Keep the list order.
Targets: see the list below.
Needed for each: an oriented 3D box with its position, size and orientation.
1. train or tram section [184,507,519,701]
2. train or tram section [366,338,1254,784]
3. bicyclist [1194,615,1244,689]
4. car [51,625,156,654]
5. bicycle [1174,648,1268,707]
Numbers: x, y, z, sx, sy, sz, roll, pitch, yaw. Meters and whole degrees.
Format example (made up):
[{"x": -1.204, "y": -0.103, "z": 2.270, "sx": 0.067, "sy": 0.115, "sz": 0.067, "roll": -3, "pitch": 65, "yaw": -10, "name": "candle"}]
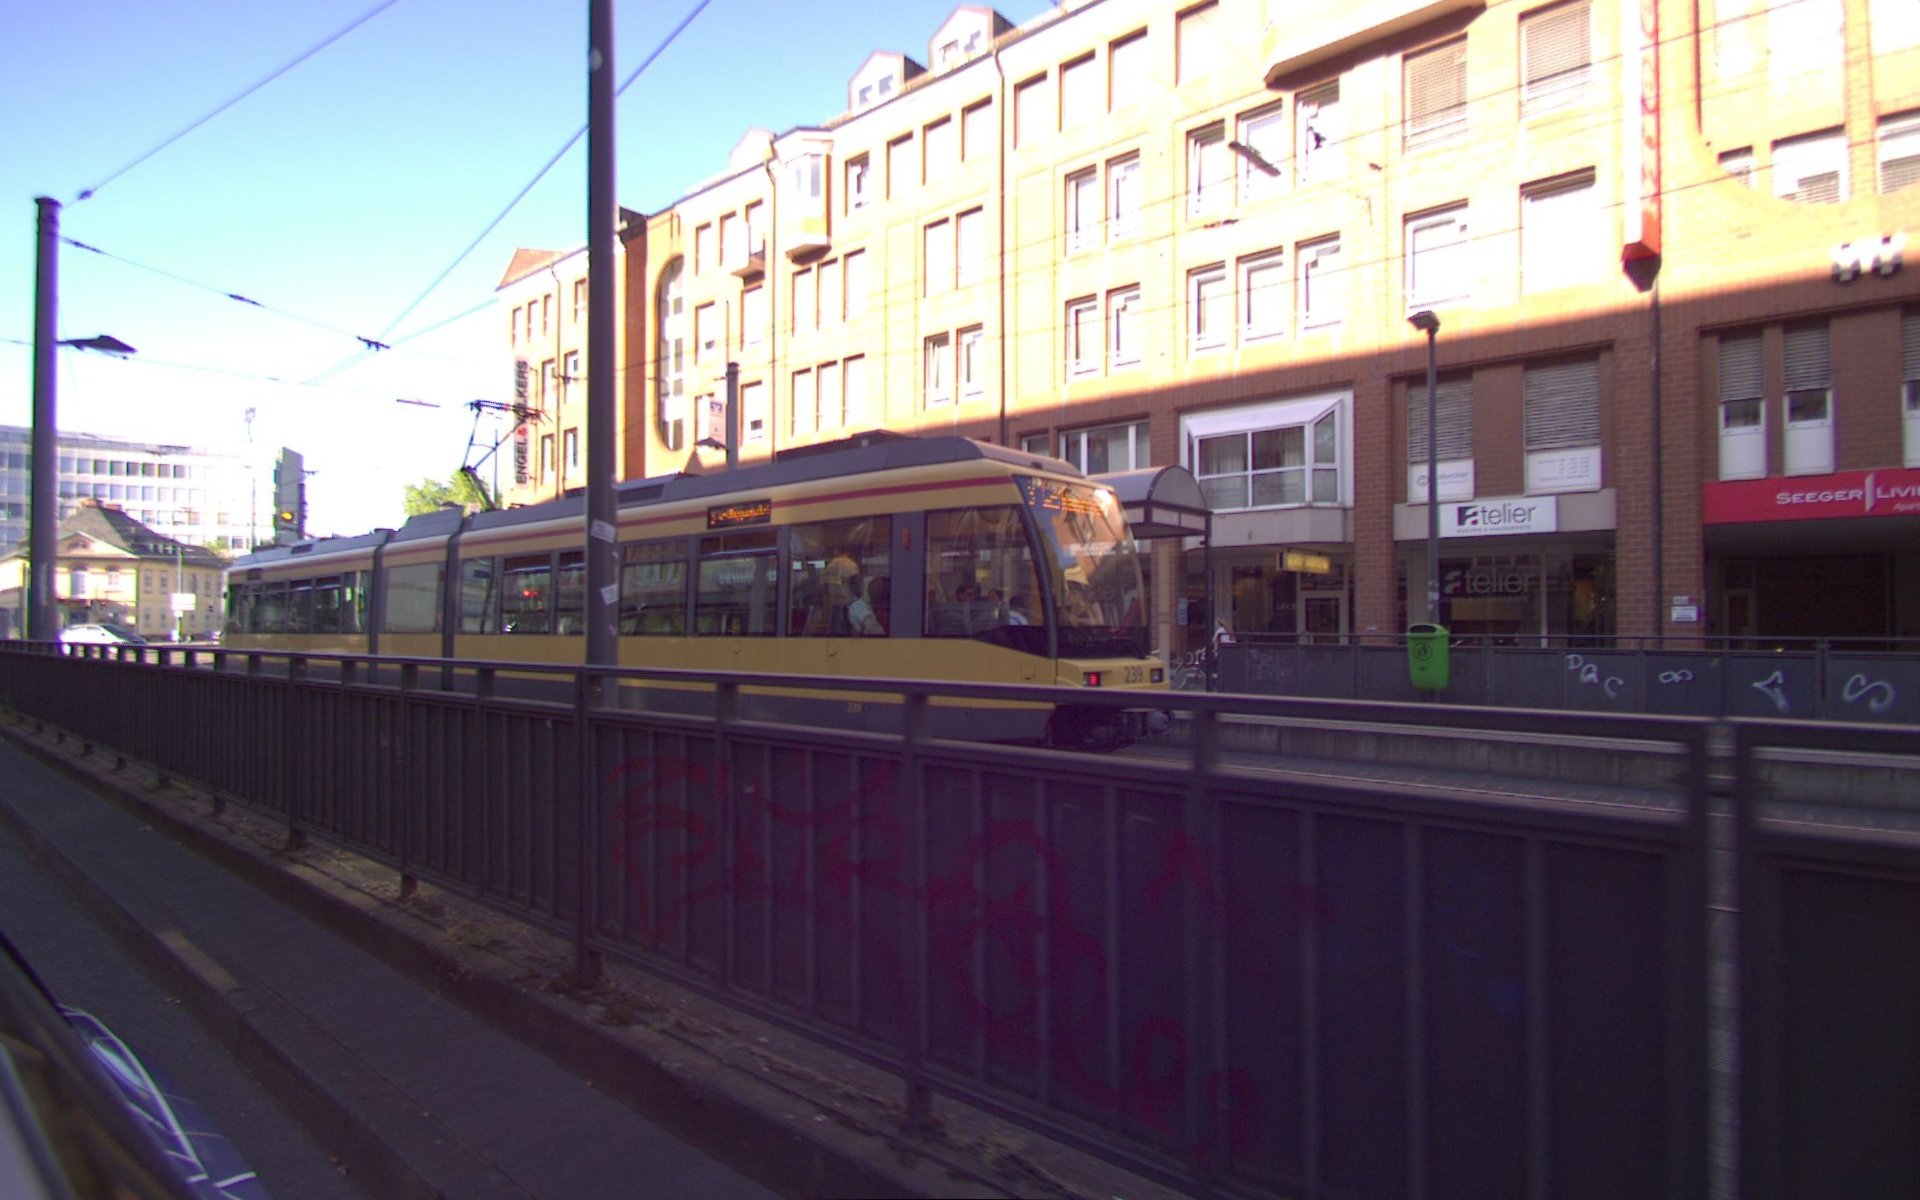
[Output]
[{"x": -15.564, "y": 0.180, "z": 24.929, "sx": 13.937, "sy": 3.672, "sz": 2.943, "roll": -1, "pitch": 0, "yaw": 41, "name": "train or tram section"}, {"x": -4.120, "y": -0.109, "z": 14.900, "sx": 16.477, "sy": 3.672, "sz": 2.943, "roll": -2, "pitch": -1, "yaw": 41, "name": "train or tram section"}, {"x": 5.267, "y": 1.041, "z": 20.607, "sx": 0.840, "sy": 1.478, "sz": 0.500, "roll": -2, "pitch": -2, "yaw": 41, "name": "bicyclist"}, {"x": -46.222, "y": 2.109, "z": 54.694, "sx": 3.940, "sy": 1.516, "sz": 2.002, "roll": 0, "pitch": -1, "yaw": -3, "name": "car"}, {"x": 5.281, "y": 1.548, "z": 20.584, "sx": 1.814, "sy": 1.123, "sz": 0.500, "roll": -1, "pitch": -2, "yaw": 41, "name": "bicycle"}]
